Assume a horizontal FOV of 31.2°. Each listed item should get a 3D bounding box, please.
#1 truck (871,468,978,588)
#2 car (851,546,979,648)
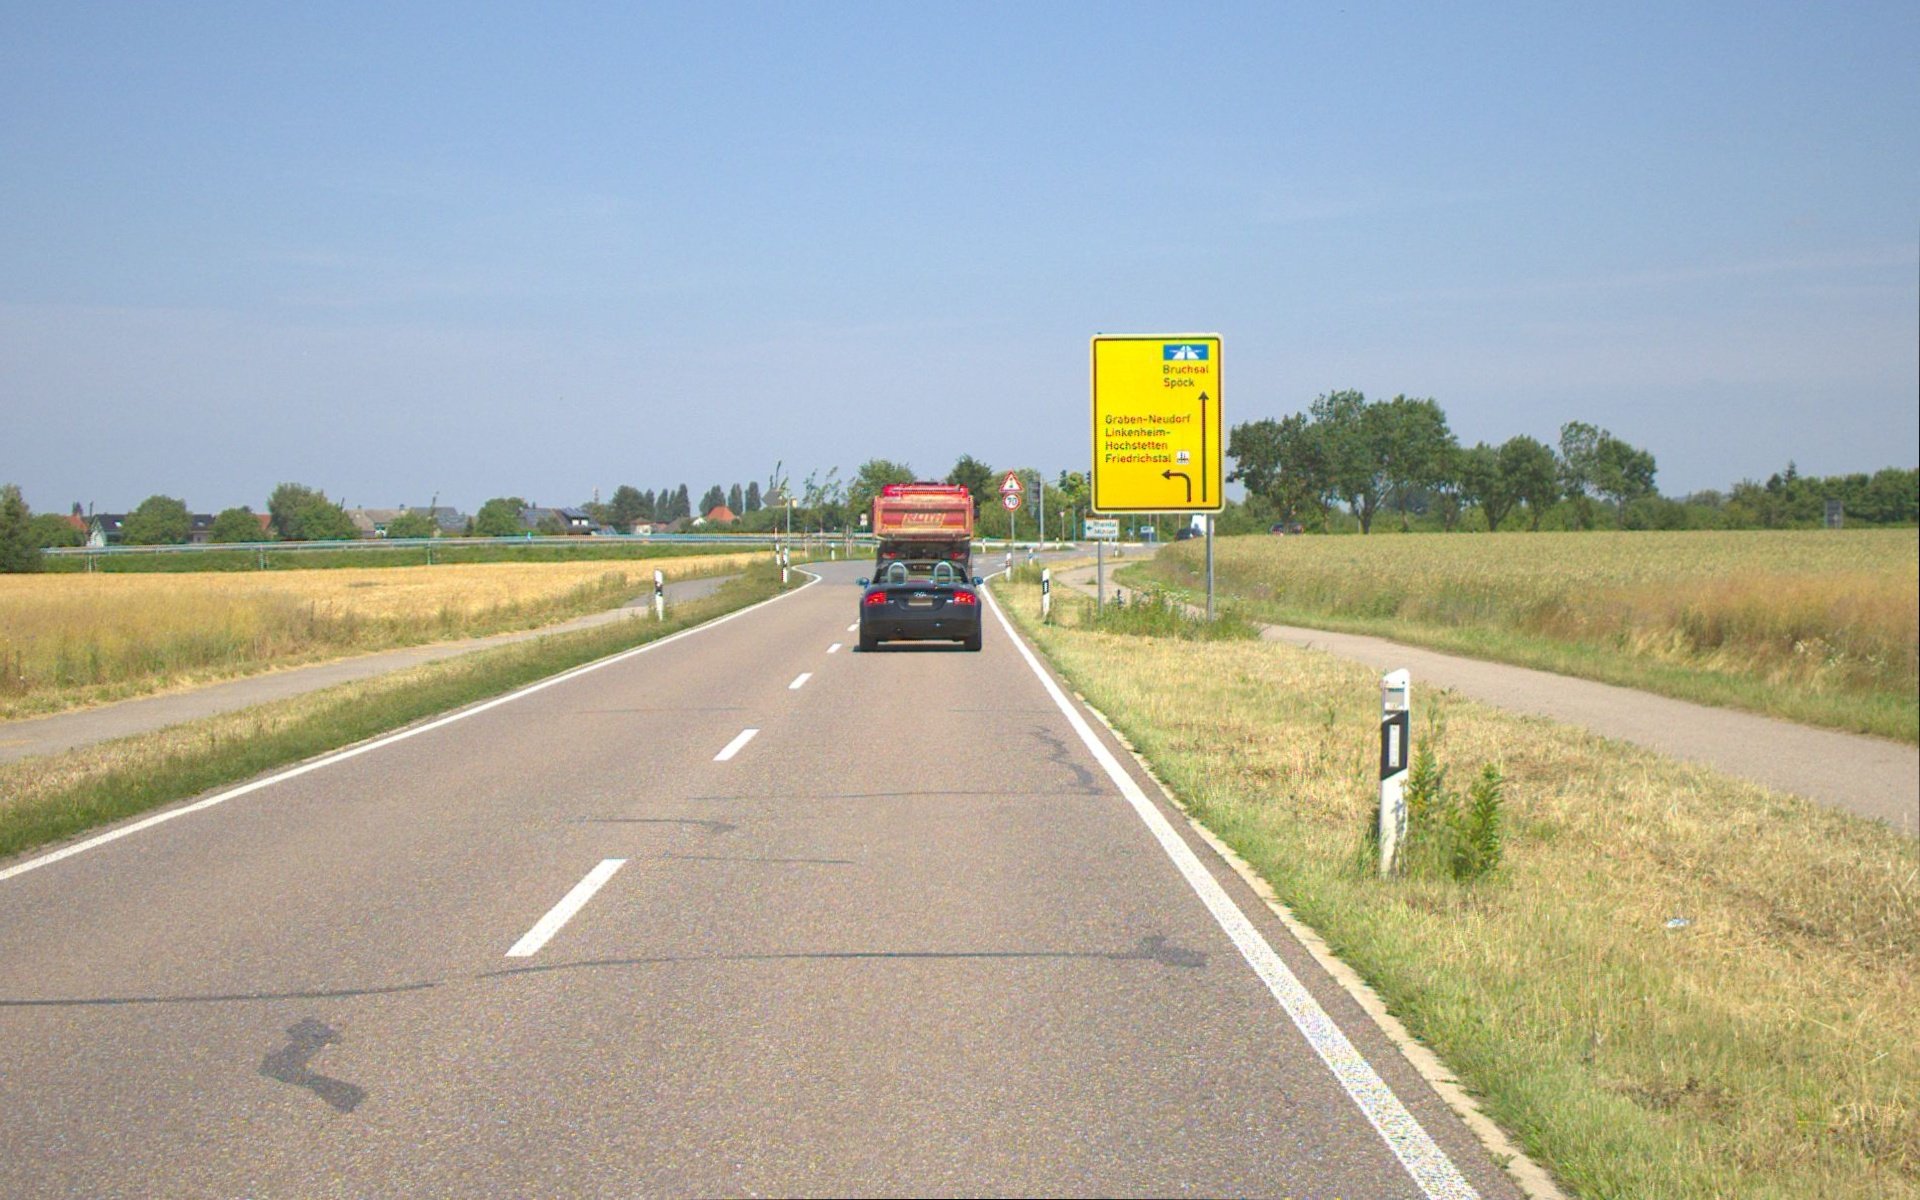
[{"bbox_3d":[-0.933,-1.872,91.880,2.714,3.042,8.165,1,0,0],"label":"truck"},{"bbox_3d":[-0.634,-0.054,49.644,1.747,1.371,3.679,2,0,0],"label":"car"}]
